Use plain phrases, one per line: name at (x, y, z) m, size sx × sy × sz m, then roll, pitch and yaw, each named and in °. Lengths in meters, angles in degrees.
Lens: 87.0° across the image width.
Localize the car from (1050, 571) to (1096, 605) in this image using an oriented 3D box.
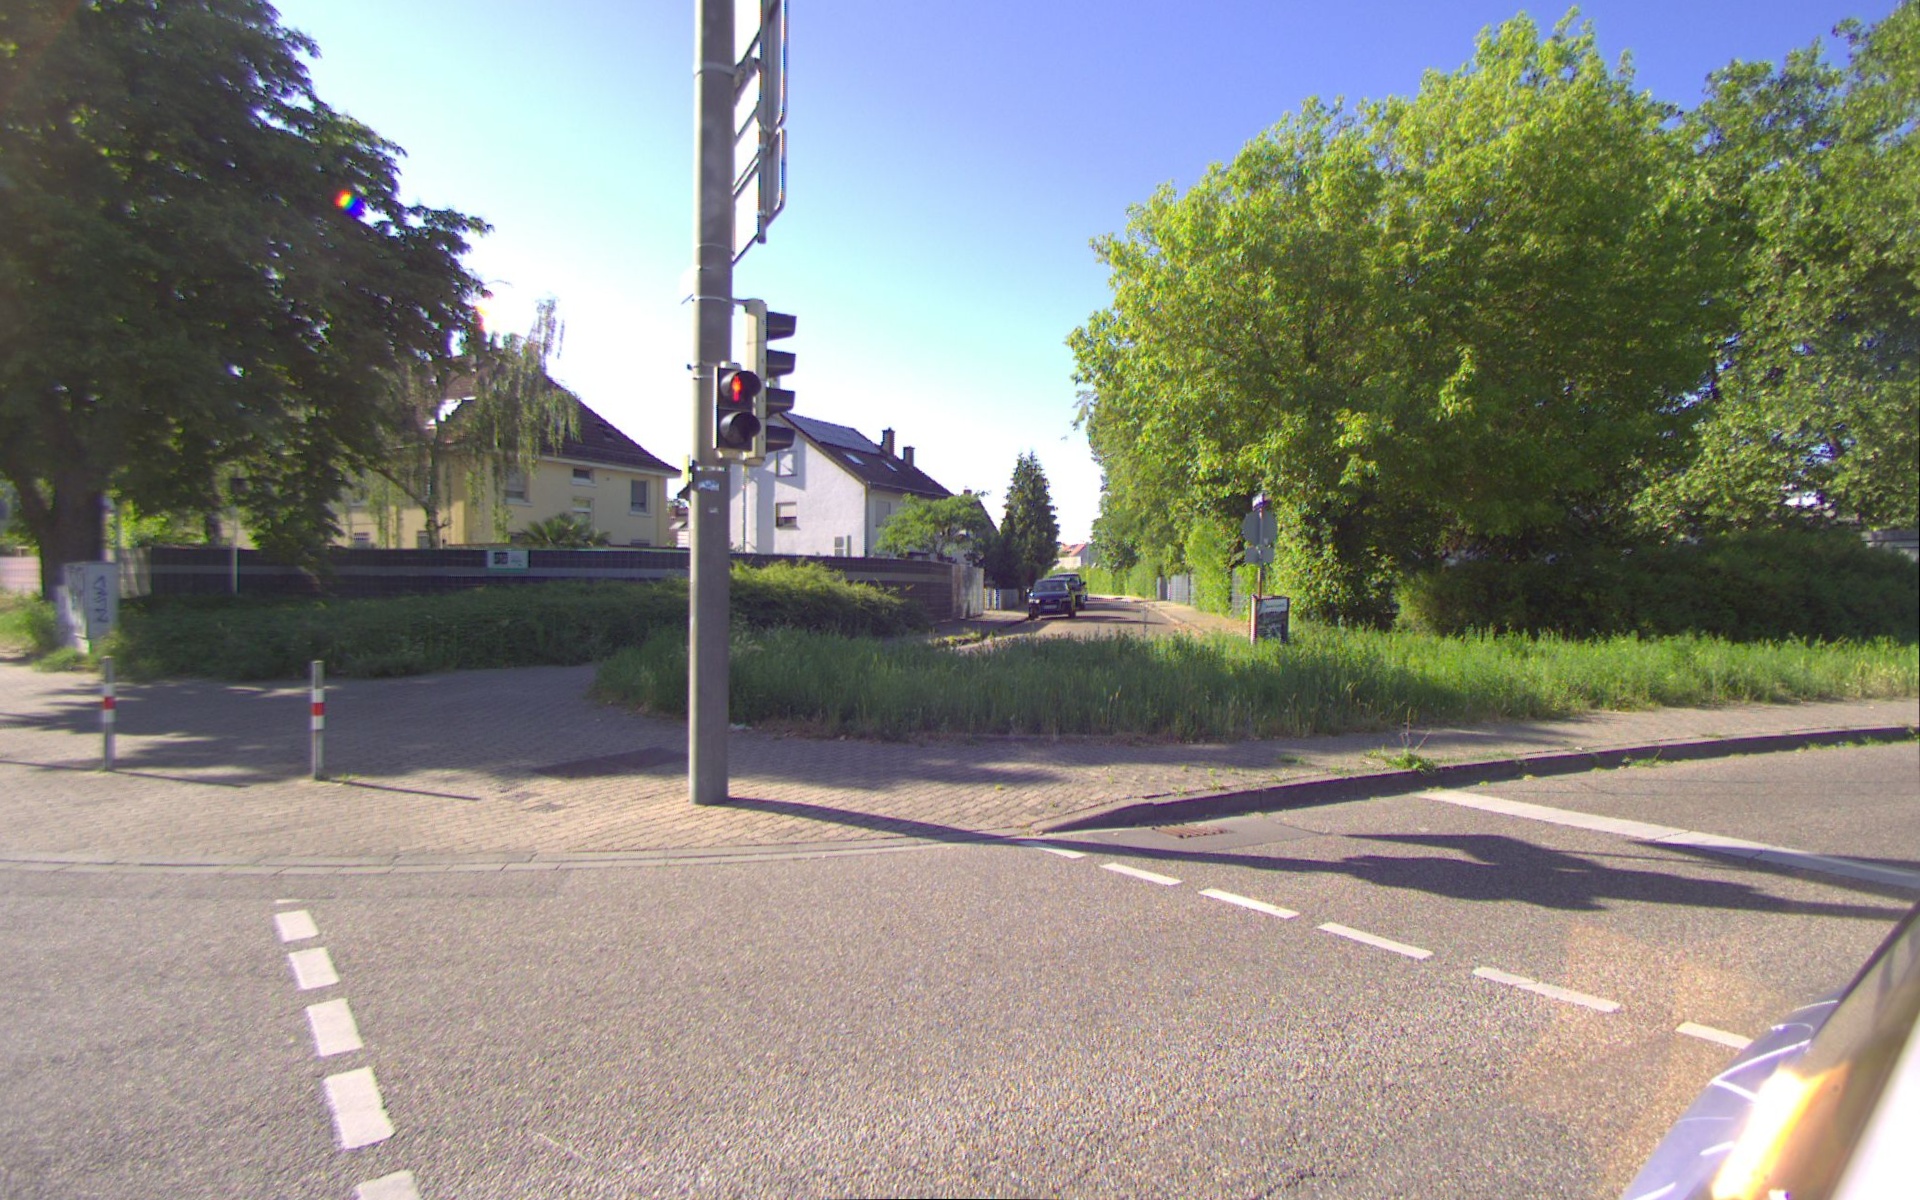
car at (5.844, -0.620, 51.893) m, size 1.934 × 1.687 × 3.985 m, roll 0°, pitch 1°, yaw 13°

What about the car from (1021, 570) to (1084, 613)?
car at (3.705, -0.347, 40.069) m, size 1.970 × 1.576 × 3.985 m, roll -1°, pitch 1°, yaw 13°
